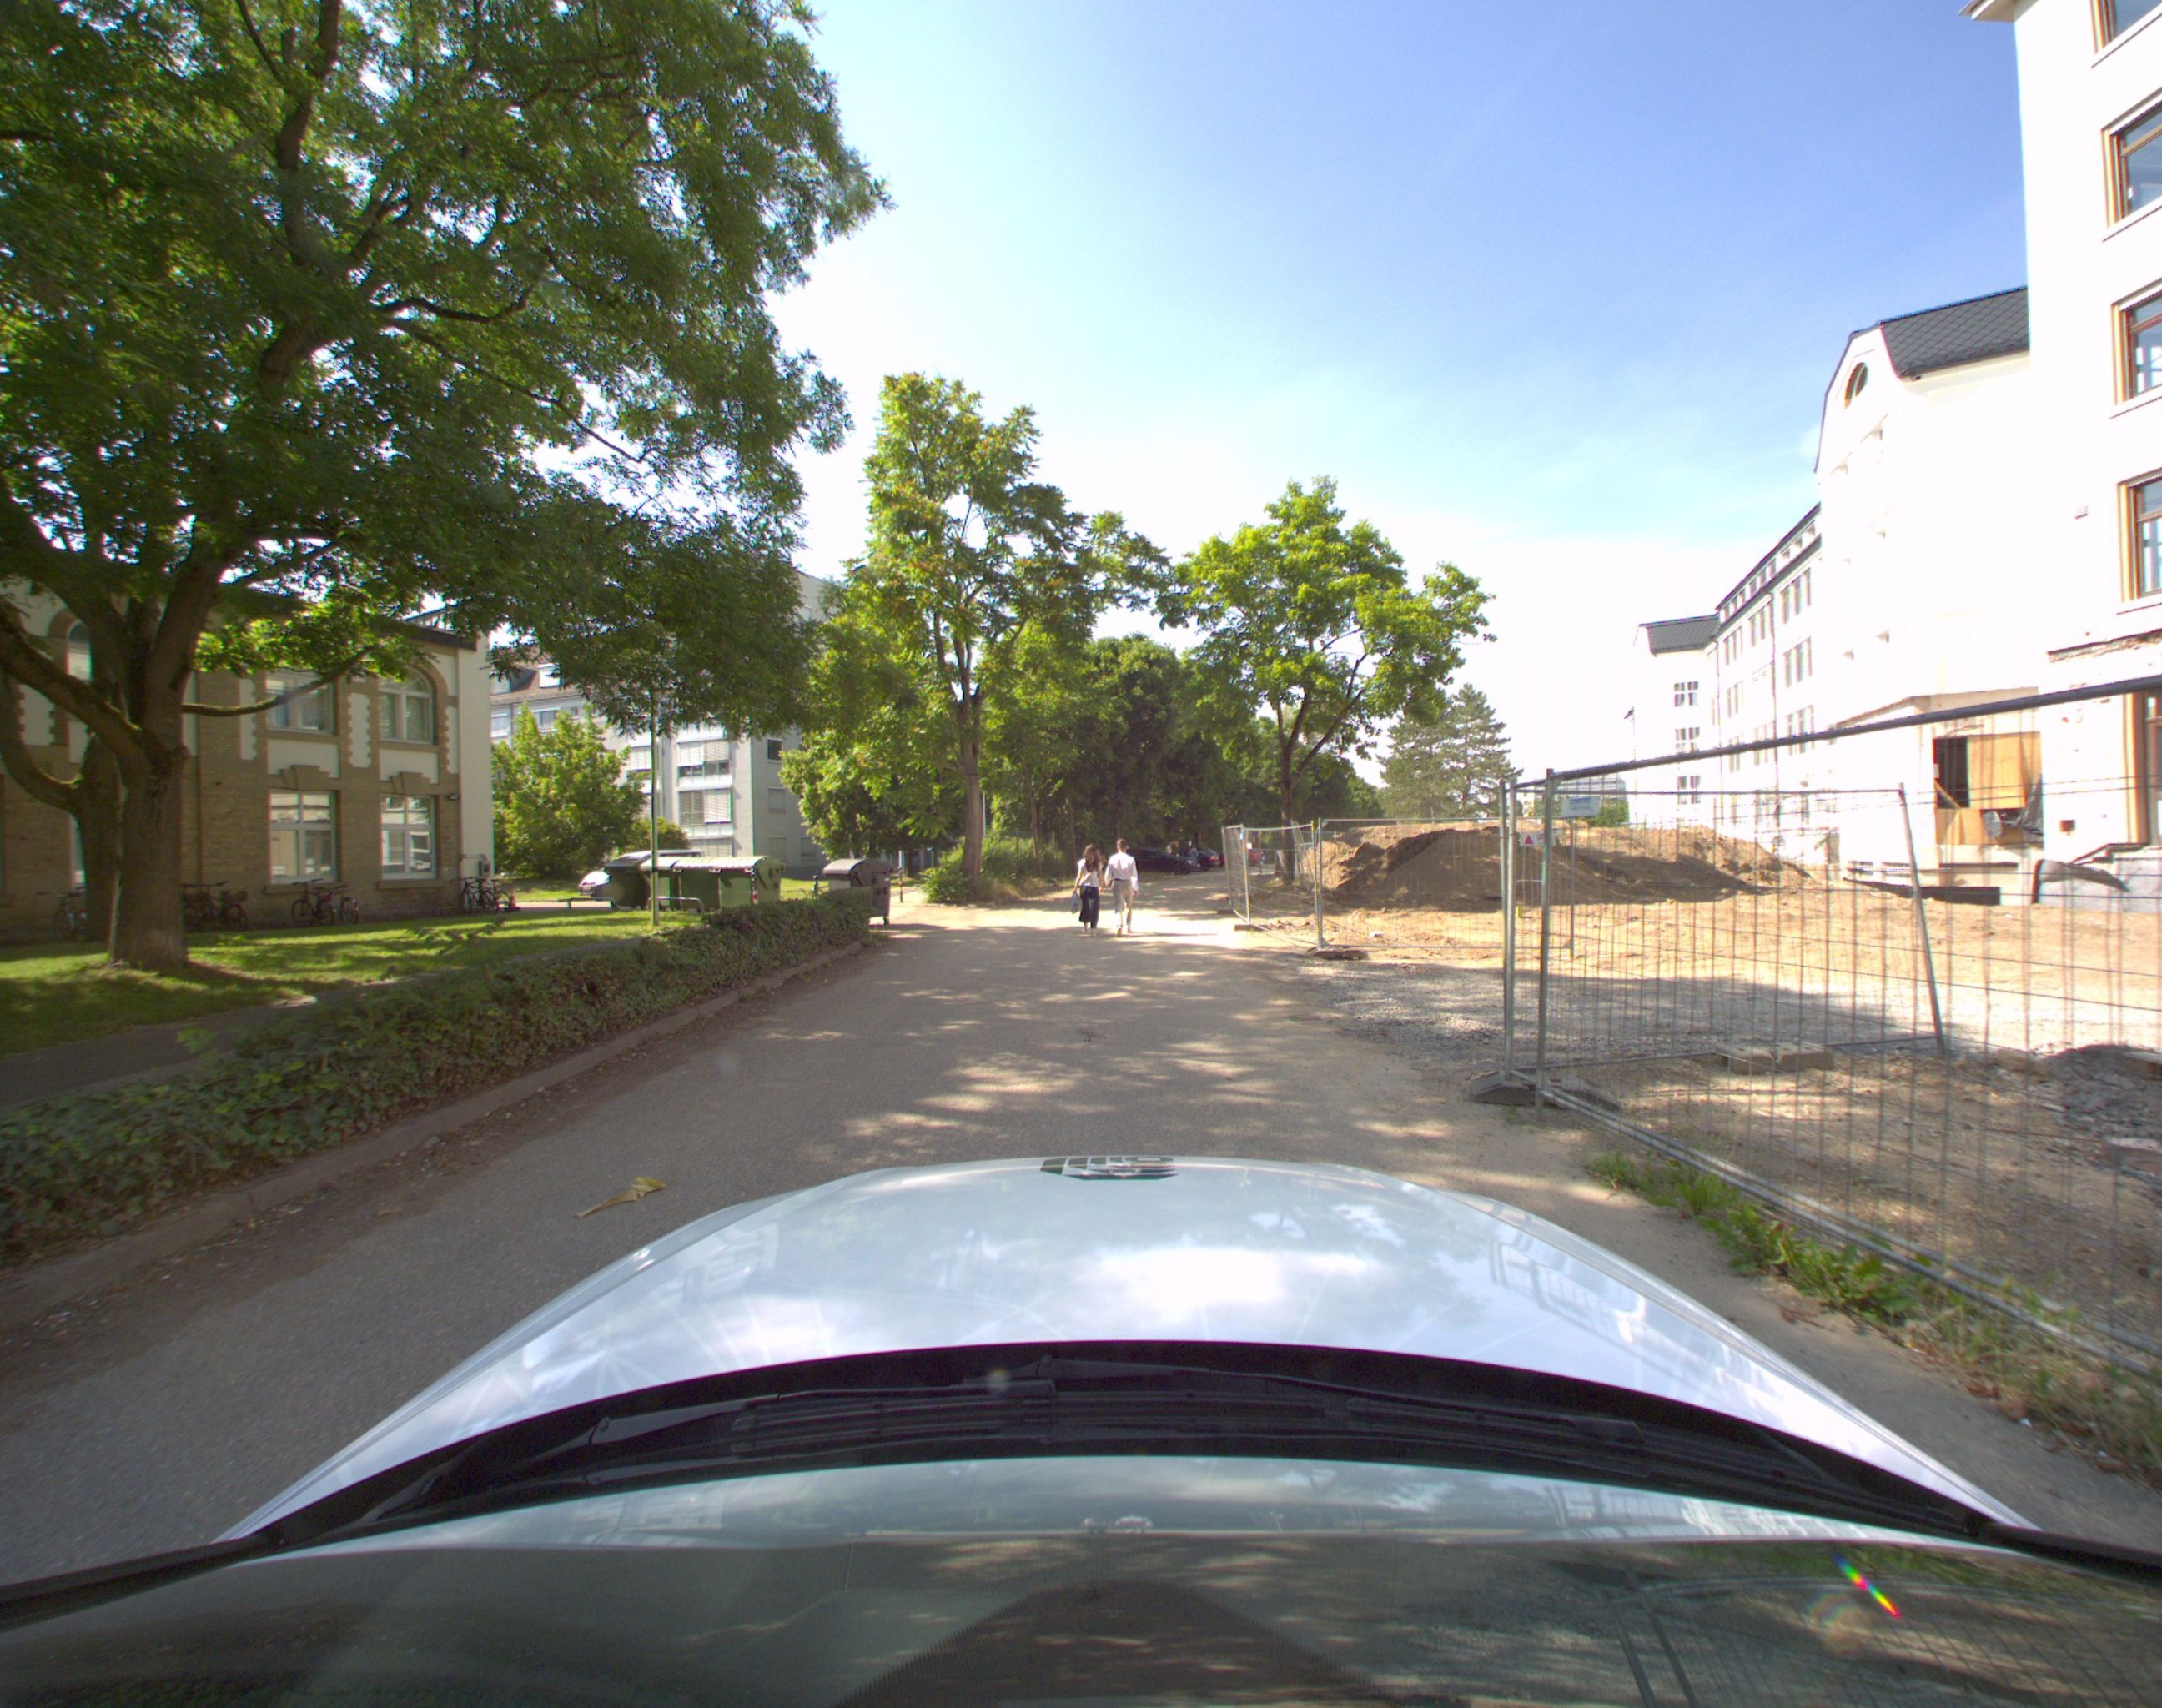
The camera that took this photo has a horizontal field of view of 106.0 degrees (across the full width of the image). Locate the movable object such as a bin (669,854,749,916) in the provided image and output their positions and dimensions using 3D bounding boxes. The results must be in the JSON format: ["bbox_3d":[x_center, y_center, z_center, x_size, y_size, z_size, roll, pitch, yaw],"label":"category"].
[{"bbox_3d":[-9.025,0.737,19.790,1.210,1.431,1.253,-1,0,15],"label":"movable object such as a bin"}]

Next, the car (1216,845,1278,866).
[{"bbox_3d":[12.435,0.107,61.040,4.247,1.524,1.903,-1,0,24],"label":"car"}]

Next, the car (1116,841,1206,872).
[{"bbox_3d":[4.425,0.124,44.978,4.619,1.584,2.009,-1,1,17],"label":"car"}]

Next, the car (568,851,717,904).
[{"bbox_3d":[-17.658,0.891,33.086,1.975,1.933,5.071,-1,0,28],"label":"car"}]

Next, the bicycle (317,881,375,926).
[{"bbox_3d":[-17.340,1.154,19.205,1.664,0.992,0.448,-1,1,29],"label":"bicycle"}]

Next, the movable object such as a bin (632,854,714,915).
[{"bbox_3d":[-10.229,0.751,20.448,1.349,1.431,1.255,-1,0,25],"label":"movable object such as a bin"}]

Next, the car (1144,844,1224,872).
[{"bbox_3d":[6.392,0.230,50.593,4.619,1.584,2.009,-1,1,17],"label":"car"}]

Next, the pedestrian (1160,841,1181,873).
[{"bbox_3d":[5.091,0.162,46.345,1.006,1.781,0.824,-1,0,17],"label":"pedestrian"}]

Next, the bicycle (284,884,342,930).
[{"bbox_3d":[-17.648,1.199,18.711,1.645,0.992,0.448,-1,1,29],"label":"bicycle"}]

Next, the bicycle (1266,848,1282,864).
[{"bbox_3d":[16.535,0.165,69.727,0.809,1.284,2.700,-1,0,26],"label":"bicycle"}]

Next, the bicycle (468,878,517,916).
[{"bbox_3d":[-16.119,1.163,22.301,1.521,0.992,0.448,-1,1,29],"label":"bicycle"}]

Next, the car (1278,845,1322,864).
[{"bbox_3d":[21.929,0.039,81.487,3.949,1.771,1.778,-1,1,28],"label":"car"}]

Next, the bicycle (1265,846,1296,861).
[{"bbox_3d":[18.274,-0.062,74.703,2.653,1.284,0.823,-1,0,19],"label":"bicycle"}]

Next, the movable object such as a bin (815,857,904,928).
[{"bbox_3d":[-4.703,0.784,17.273,1.386,1.396,1.256,-1,0,44],"label":"movable object such as a bin"}]

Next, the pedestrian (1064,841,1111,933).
[{"bbox_3d":[0.110,0.597,15.108,0.735,1.640,0.779,-1,1,-8],"label":"pedestrian"}]

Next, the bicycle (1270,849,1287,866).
[{"bbox_3d":[15.519,0.263,63.895,0.708,1.284,2.700,-1,0,26],"label":"bicycle"}]

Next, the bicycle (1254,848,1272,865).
[{"bbox_3d":[14.551,0.158,65.027,0.708,1.284,2.807,-1,0,26],"label":"bicycle"}]

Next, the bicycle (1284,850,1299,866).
[{"bbox_3d":[17.595,0.305,67.981,0.708,1.284,2.652,-1,0,26],"label":"bicycle"}]

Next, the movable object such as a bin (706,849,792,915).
[{"bbox_3d":[-7.788,0.635,19.161,1.323,1.481,1.255,-1,0,21],"label":"movable object such as a bin"}]

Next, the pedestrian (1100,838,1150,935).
[{"bbox_3d":[0.803,0.568,15.108,0.754,1.727,0.852,-1,1,-8],"label":"pedestrian"}]

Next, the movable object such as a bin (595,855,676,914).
[{"bbox_3d":[-11.553,0.776,21.137,1.333,1.431,1.255,-1,0,25],"label":"movable object such as a bin"}]

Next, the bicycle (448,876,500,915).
[{"bbox_3d":[-16.289,1.100,21.837,1.609,0.992,0.448,-1,1,29],"label":"bicycle"}]

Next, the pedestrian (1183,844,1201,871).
[{"bbox_3d":[6.652,0.217,48.978,0.917,1.595,0.789,-1,1,17],"label":"pedestrian"}]
